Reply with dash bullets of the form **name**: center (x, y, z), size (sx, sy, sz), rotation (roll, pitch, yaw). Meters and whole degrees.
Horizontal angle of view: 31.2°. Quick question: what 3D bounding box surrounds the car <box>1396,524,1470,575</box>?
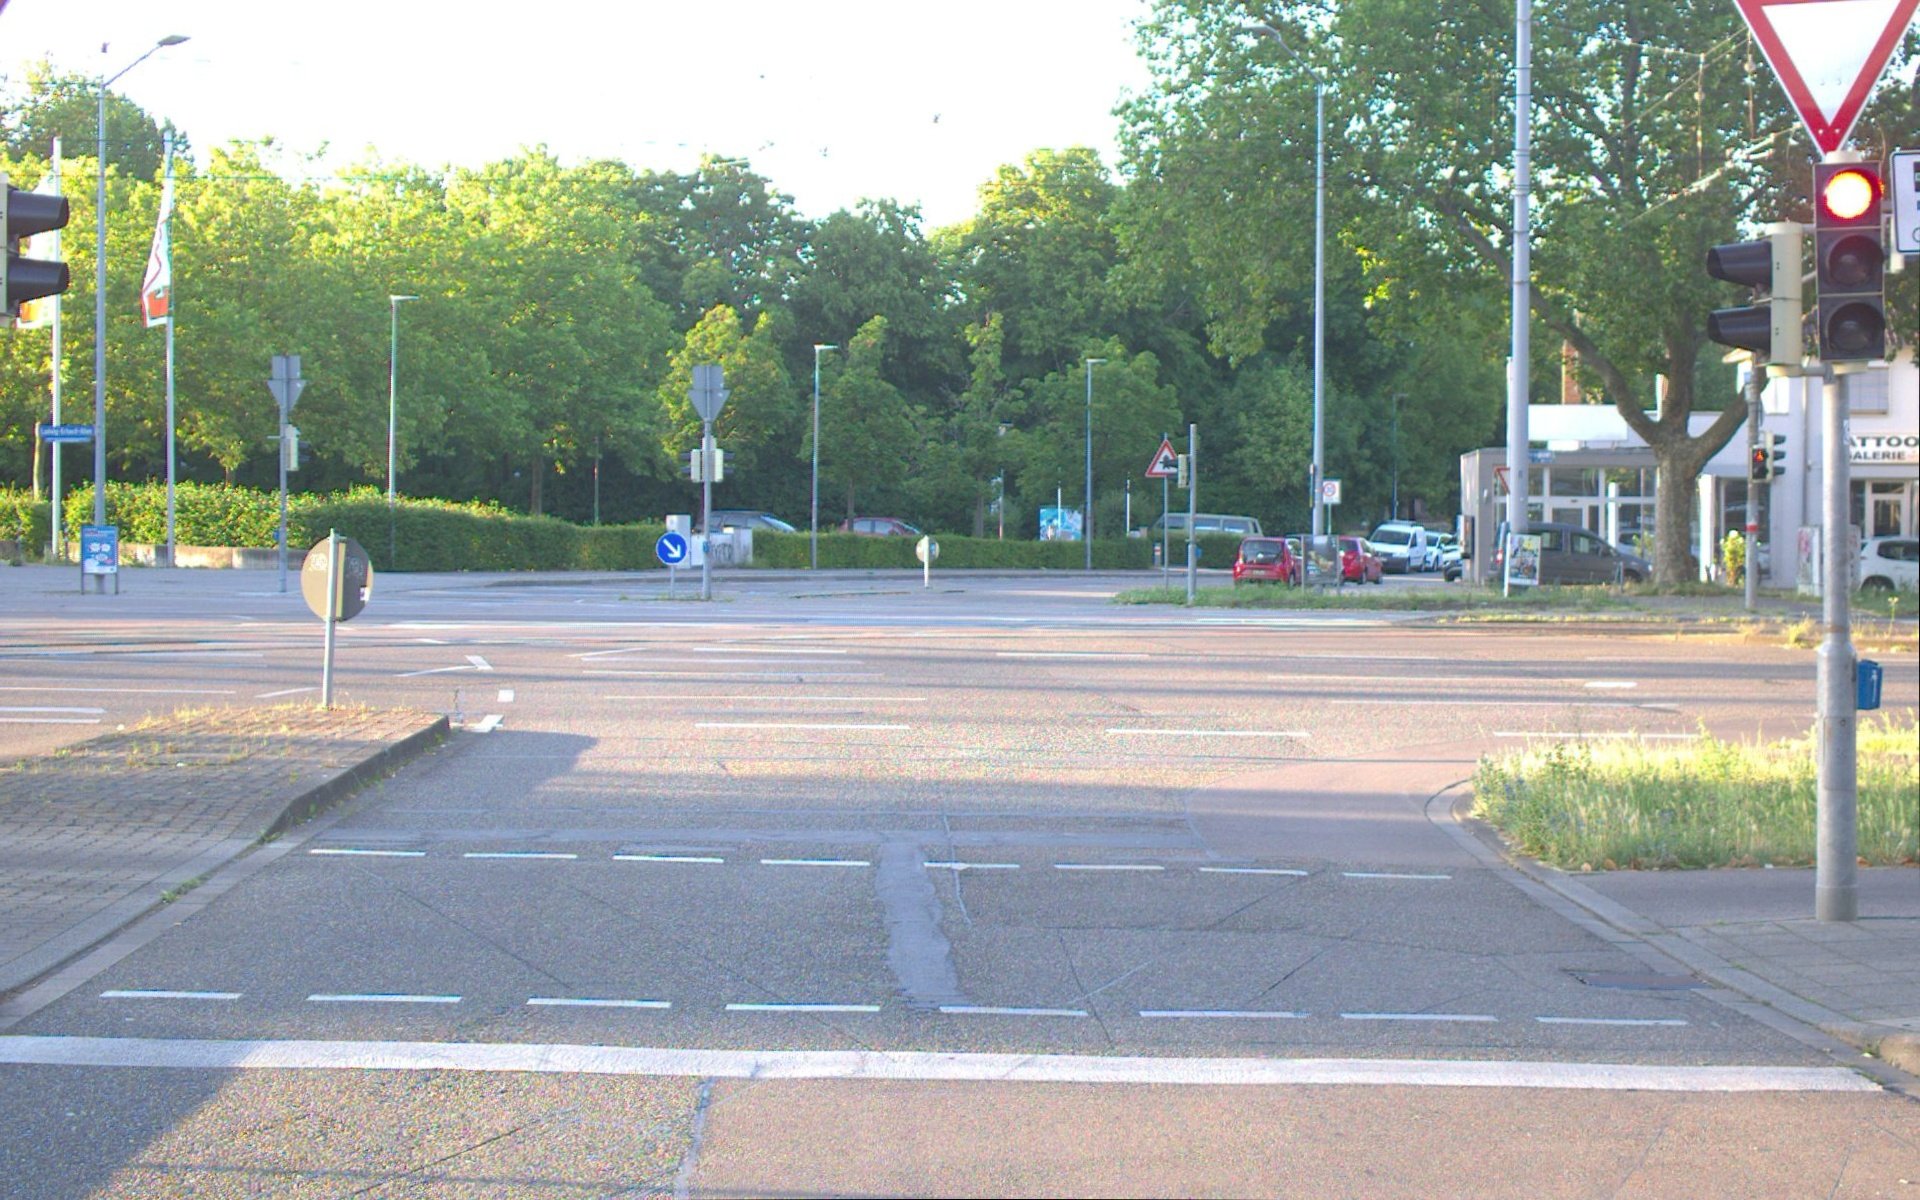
- **car**: center (15.928, -1.694, 115.590), size (1.995, 1.656, 3.997), rotation (1, 0, 15)

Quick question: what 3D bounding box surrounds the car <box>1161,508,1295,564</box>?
- **car**: center (9.789, -2.338, 125.867), size (4.774, 1.999, 2.000), rotation (0, 0, 2)

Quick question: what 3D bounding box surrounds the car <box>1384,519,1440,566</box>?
- **car**: center (17.889, -2.273, 136.076), size (1.864, 1.788, 3.998), rotation (1, 0, 12)

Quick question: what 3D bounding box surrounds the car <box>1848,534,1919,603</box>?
- **car**: center (20.666, -0.653, 72.269), size (3.741, 1.435, 1.663), rotation (1, 0, 9)

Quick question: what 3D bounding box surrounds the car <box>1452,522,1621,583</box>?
- **car**: center (14.917, -1.230, 89.160), size (4.220, 1.547, 1.999), rotation (1, 0, 7)

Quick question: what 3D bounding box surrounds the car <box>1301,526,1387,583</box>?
- **car**: center (11.562, -1.354, 103.366), size (1.995, 1.656, 3.997), rotation (1, 0, 15)

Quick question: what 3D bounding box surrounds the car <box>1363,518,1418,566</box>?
- **car**: center (16.434, -2.210, 131.181), size (1.864, 1.788, 3.998), rotation (1, 0, 10)

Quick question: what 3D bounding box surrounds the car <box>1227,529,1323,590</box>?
- **car**: center (8.782, -1.114, 95.679), size (1.995, 1.656, 3.997), rotation (1, 0, 15)
